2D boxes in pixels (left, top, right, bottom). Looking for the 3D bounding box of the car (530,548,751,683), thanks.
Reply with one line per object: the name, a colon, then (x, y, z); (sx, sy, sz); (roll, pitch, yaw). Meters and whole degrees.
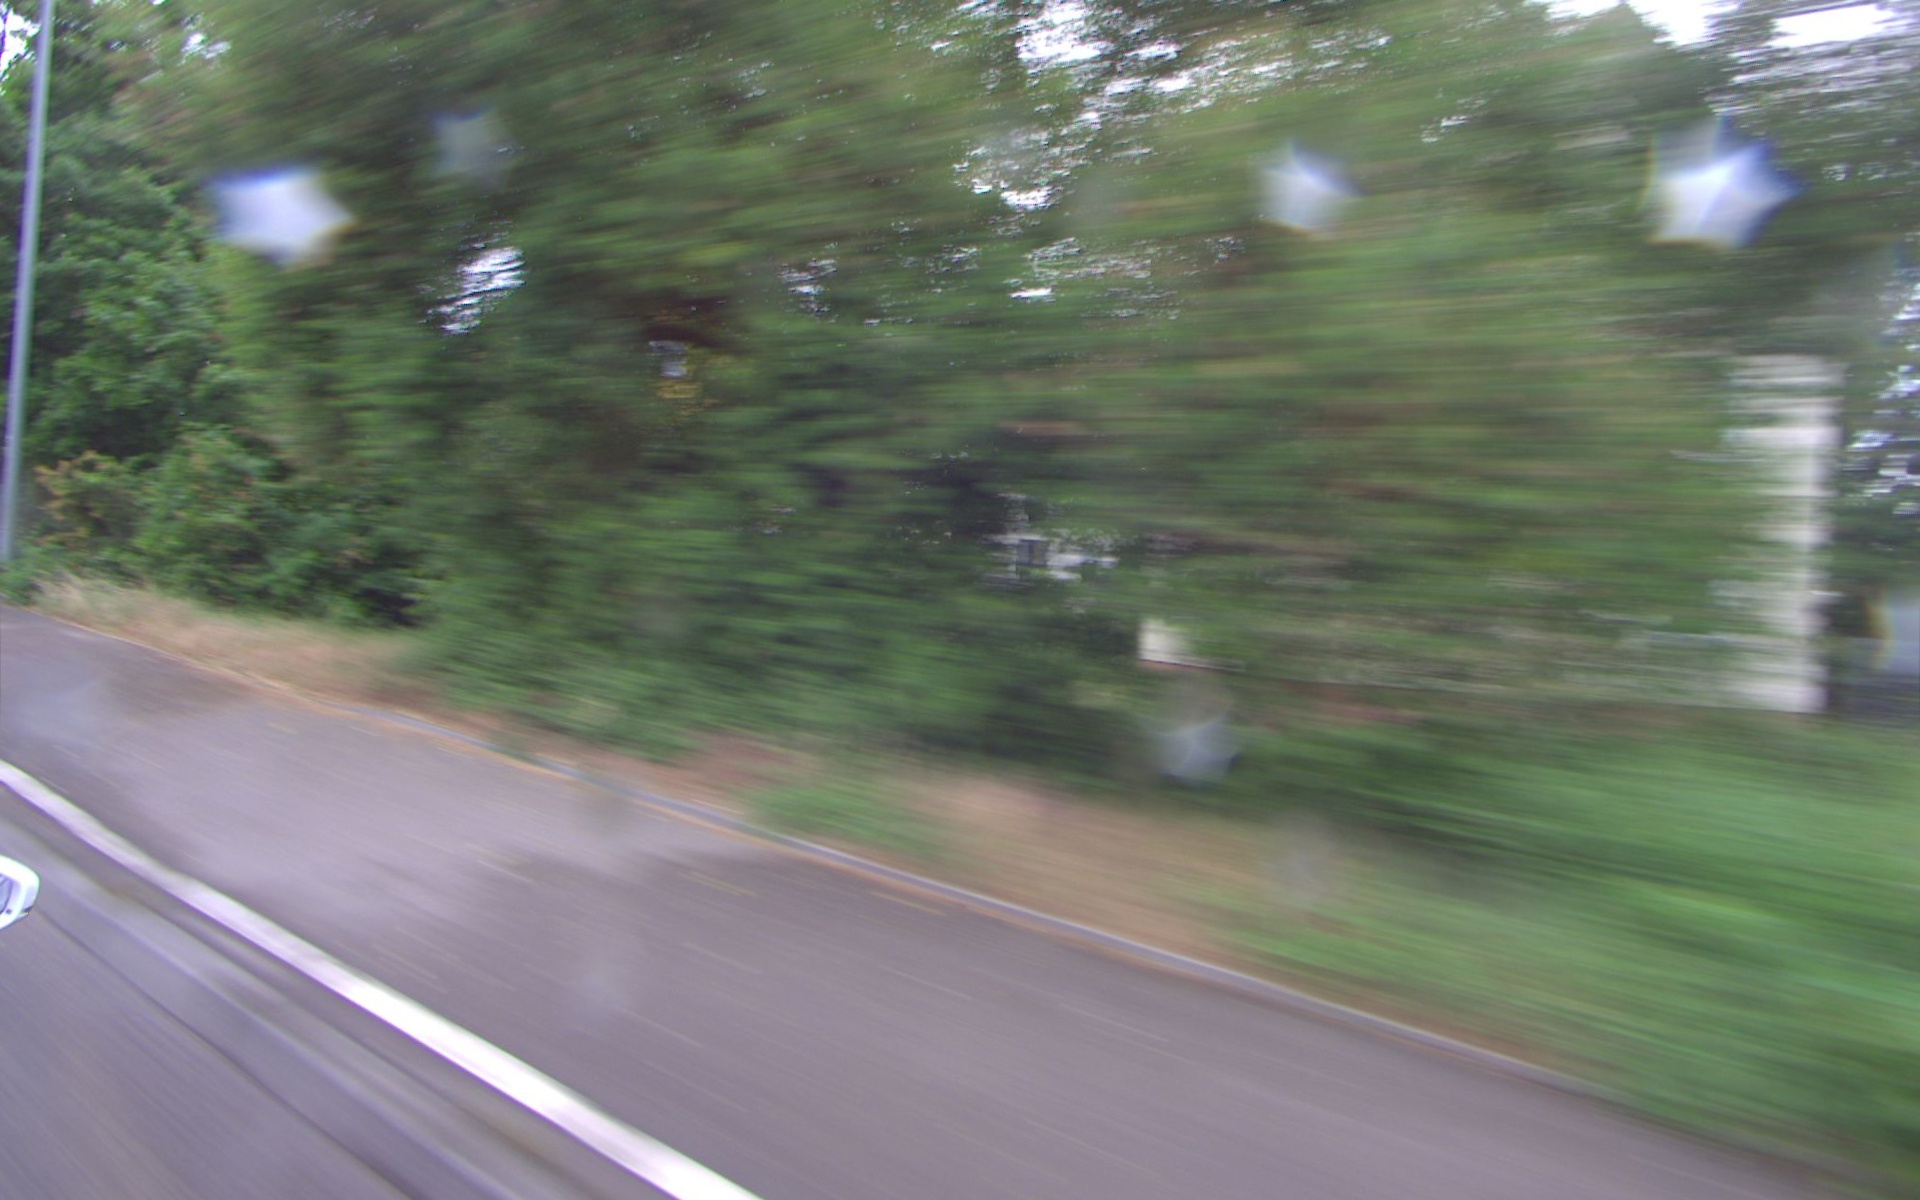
car: (-4.071, 0.184, 13.354); (1.662, 1.401, 3.151); (6, 0, 3)
